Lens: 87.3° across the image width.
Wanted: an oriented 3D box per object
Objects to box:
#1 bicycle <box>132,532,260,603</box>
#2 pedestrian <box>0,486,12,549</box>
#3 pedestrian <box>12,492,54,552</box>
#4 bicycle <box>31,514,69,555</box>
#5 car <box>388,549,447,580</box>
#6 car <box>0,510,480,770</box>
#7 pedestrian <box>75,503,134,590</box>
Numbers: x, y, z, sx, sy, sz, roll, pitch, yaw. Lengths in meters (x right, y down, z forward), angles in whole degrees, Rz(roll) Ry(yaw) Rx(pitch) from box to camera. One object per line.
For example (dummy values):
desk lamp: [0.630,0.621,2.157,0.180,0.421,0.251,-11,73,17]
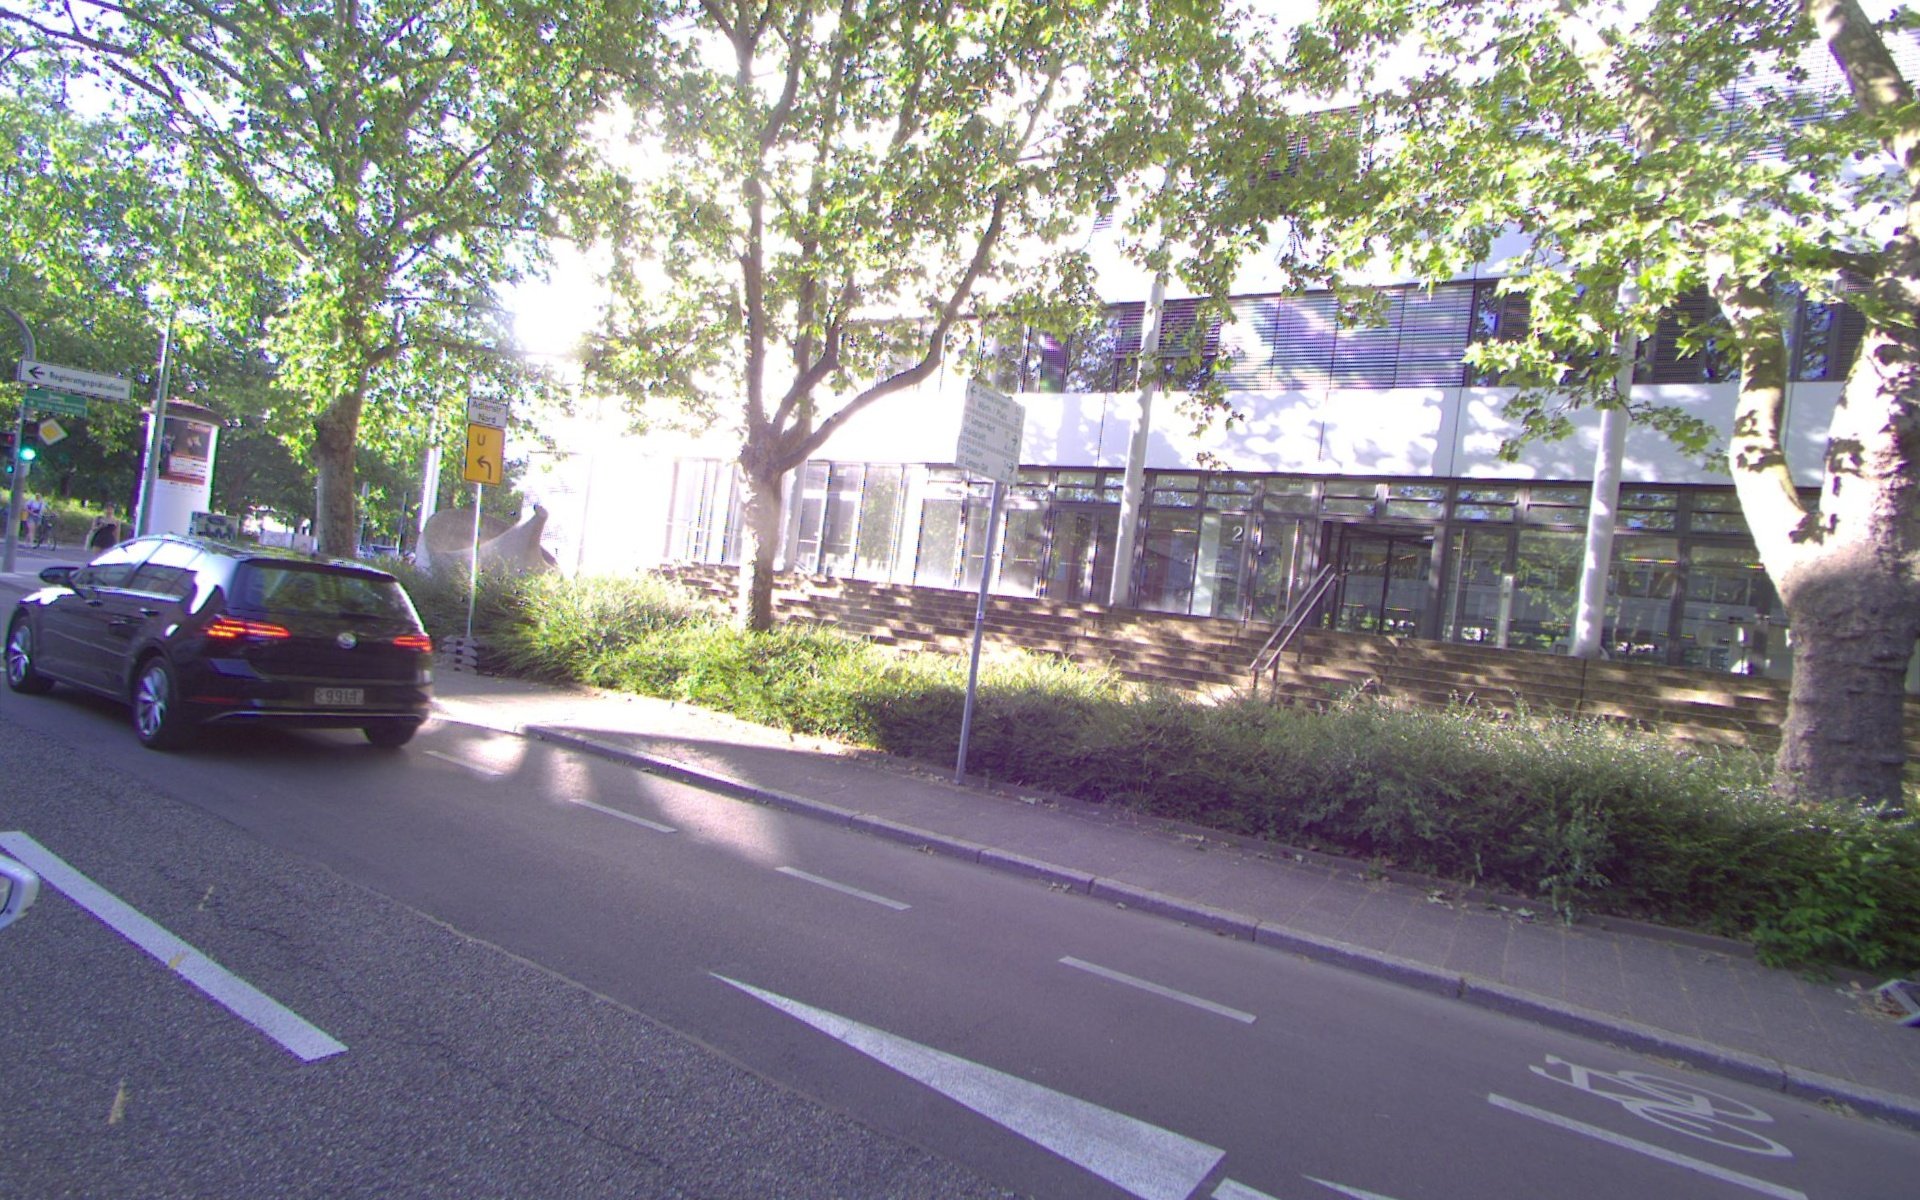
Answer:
bicycle: [-15.958,-0.657,21.066,0.519,1.203,1.980,7,-2,30]
pedestrian: [-28.837,-2.483,29.901,0.896,1.830,0.731,5,0,39]
pedestrian: [-28.255,-2.383,30.667,0.957,1.717,0.682,6,-1,41]
bicycle: [-27.987,-2.013,30.927,1.716,1.113,0.524,6,-2,40]
car: [-35.582,-2.334,65.980,3.732,1.500,1.633,6,-2,31]
car: [-5.826,0.257,7.984,3.837,1.456,1.694,6,-3,32]
pedestrian: [-17.356,-1.082,20.410,0.795,1.651,0.897,5,1,-41]
